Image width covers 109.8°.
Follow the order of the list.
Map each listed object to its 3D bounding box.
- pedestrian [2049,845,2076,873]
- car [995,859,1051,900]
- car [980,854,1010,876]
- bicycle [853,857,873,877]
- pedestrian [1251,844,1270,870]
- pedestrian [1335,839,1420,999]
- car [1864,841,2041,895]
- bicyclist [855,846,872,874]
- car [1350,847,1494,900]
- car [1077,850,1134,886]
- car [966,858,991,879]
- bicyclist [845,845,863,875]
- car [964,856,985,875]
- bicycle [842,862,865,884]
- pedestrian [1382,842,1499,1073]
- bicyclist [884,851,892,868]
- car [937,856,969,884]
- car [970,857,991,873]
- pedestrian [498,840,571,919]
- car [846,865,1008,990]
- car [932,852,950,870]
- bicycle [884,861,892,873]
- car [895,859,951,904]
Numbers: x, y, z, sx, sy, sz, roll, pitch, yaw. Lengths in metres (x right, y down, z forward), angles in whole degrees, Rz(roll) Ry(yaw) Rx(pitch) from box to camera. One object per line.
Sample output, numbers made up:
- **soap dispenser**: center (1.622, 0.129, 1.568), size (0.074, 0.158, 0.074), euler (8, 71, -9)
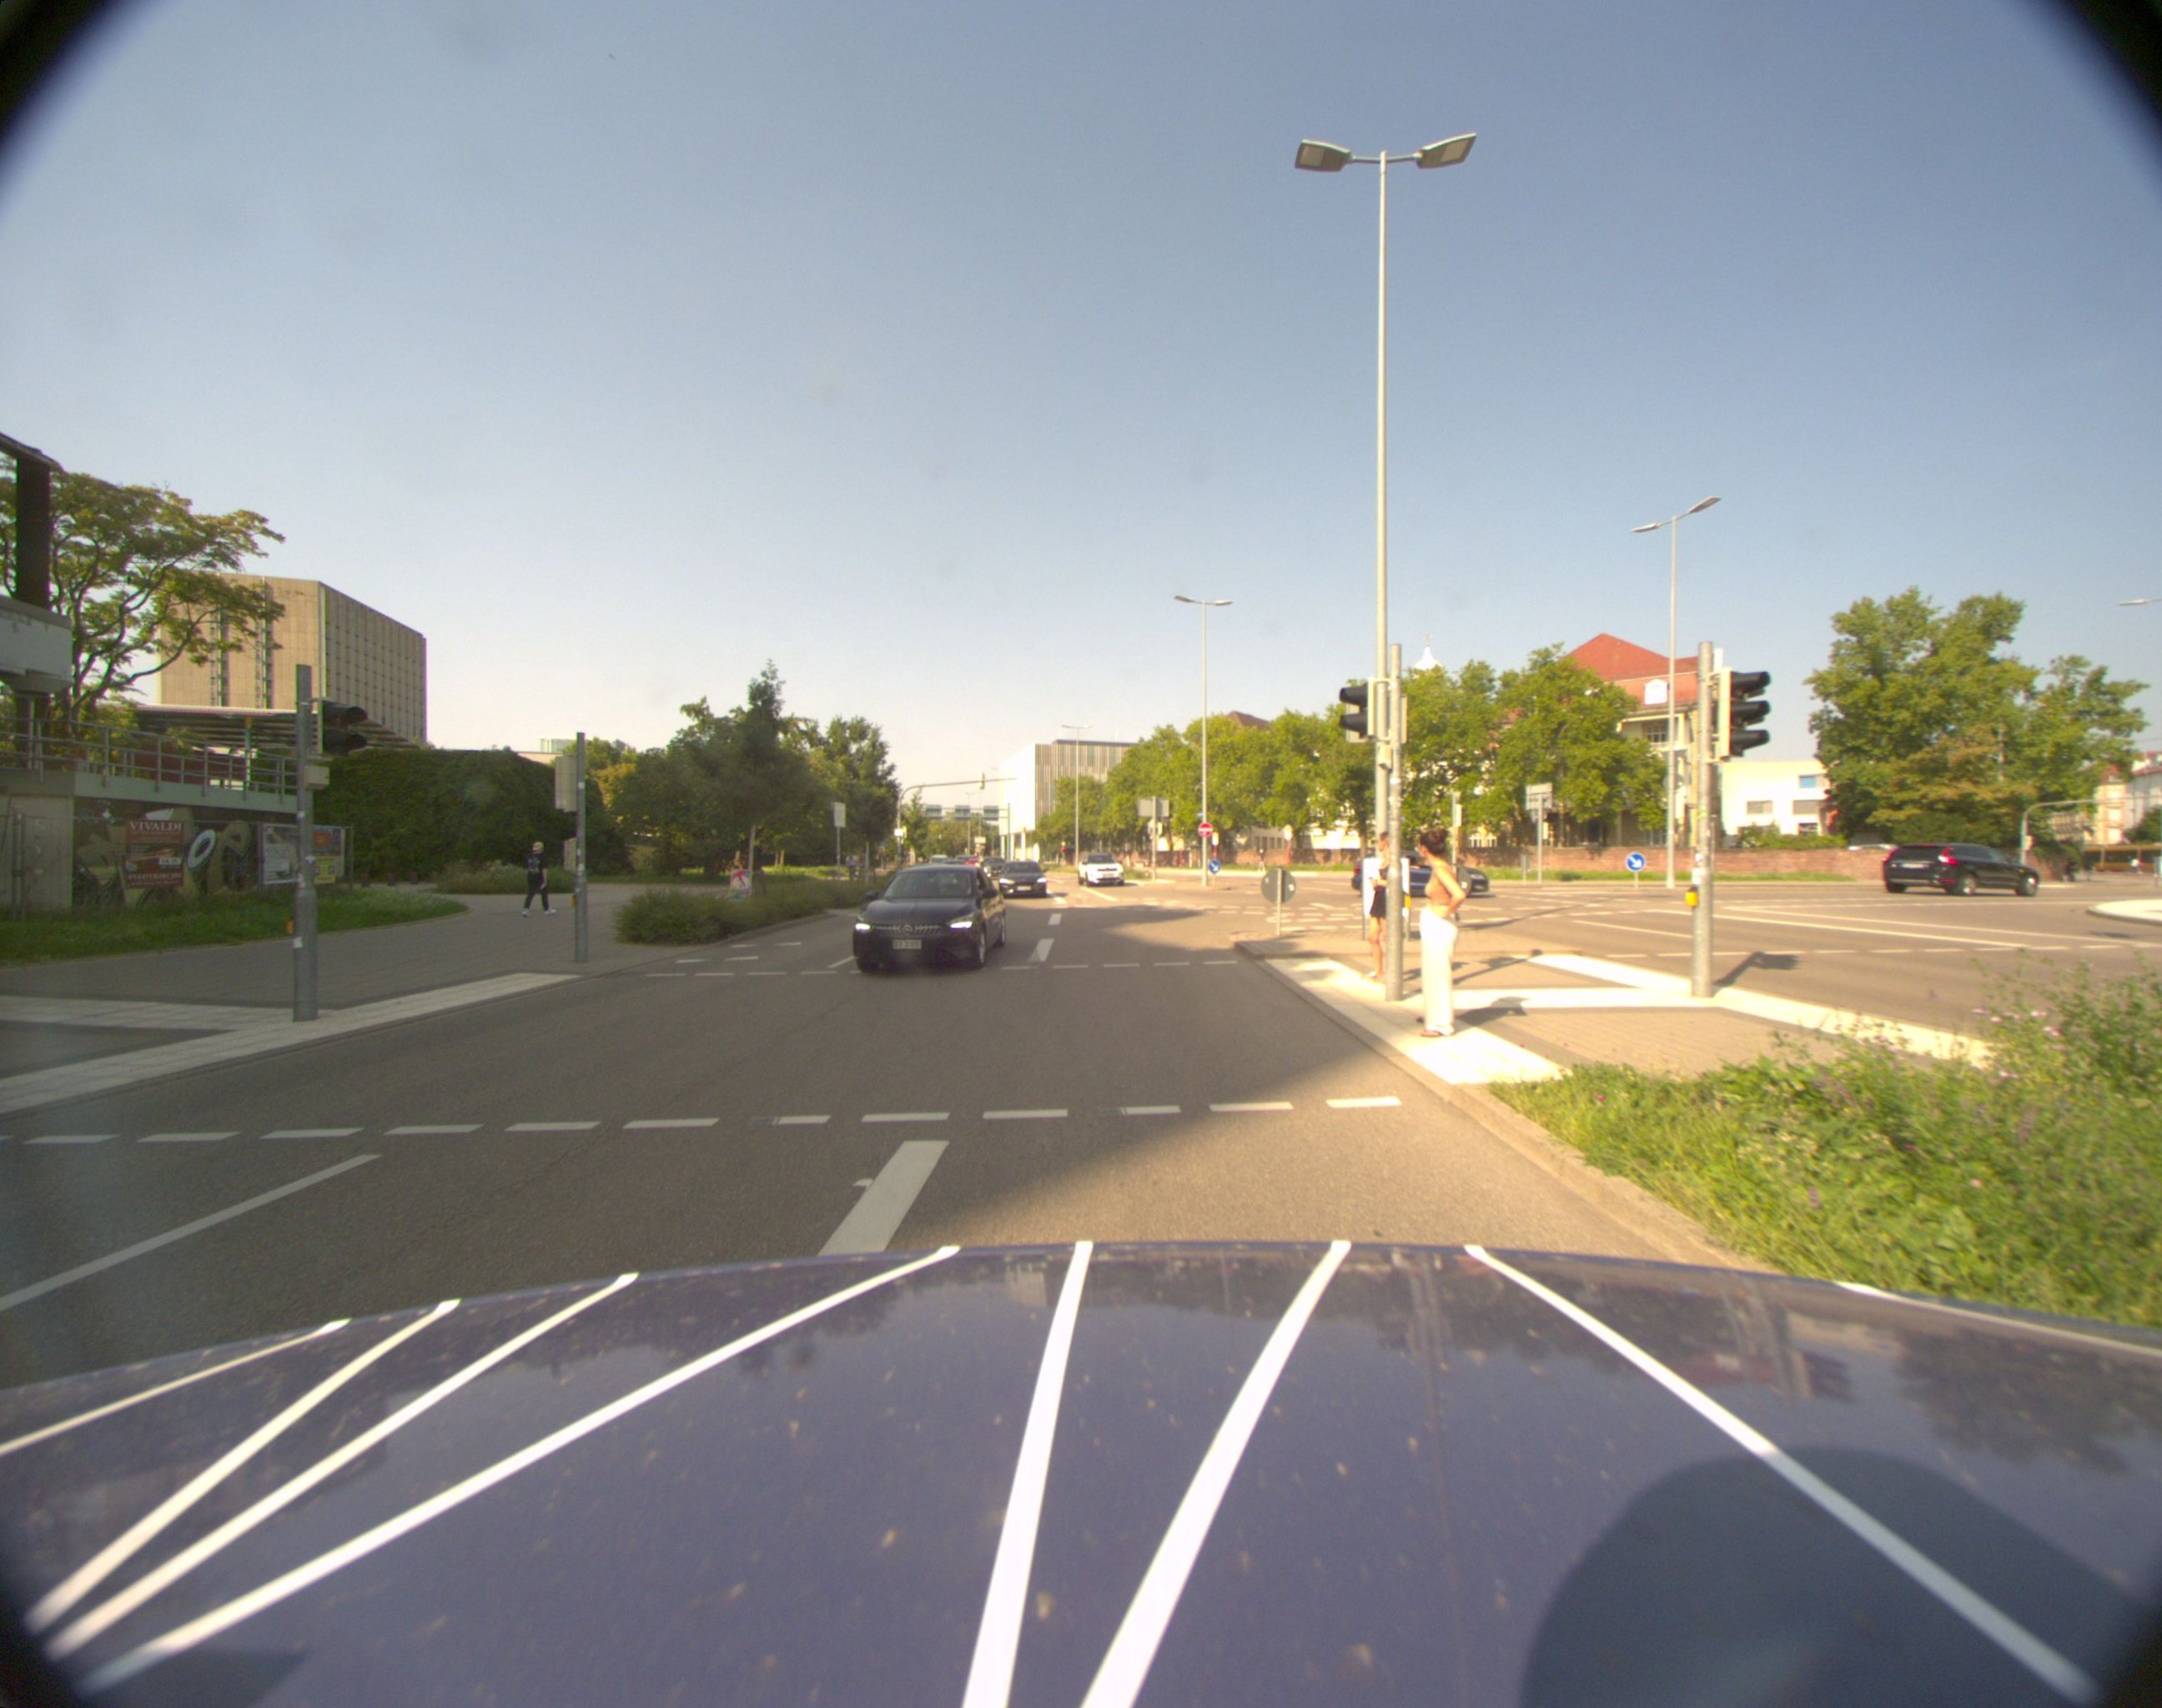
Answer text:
- **pedestrian**: center (70.262, 0.346, 54.409), size (0.817, 2.002, 0.821), euler (-2, 1, -2)
- **car**: center (-2.371, 0.932, 30.044), size (1.838, 1.427, 4.546), euler (-1, 0, -9)
- **car**: center (-6.120, 0.772, 53.659), size (1.688, 1.483, 4.367), euler (0, 0, -11)
- **bicycle**: center (-12.385, 0.723, 43.196), size (0.773, 1.111, 2.302), euler (-1, 0, -8)
- **pedestrian**: center (14.020, 0.221, 59.404), size (1.079, 2.002, 1.317), euler (-1, 1, -8)
- **pedestrian**: center (3.243, 0.683, 8.360), size (0.668, 1.689, 0.692), euler (0, 1, 1)
- **car**: center (28.135, 0.417, 24.576), size (4.374, 1.624, 1.997), euler (0, 0, -15)
- **bicyclist**: center (-12.398, 0.333, 43.261), size (0.773, 1.584, 0.923), euler (-1, 1, -8)
- **car**: center (10.506, 0.557, 23.482), size (3.839, 1.489, 1.628), euler (0, 2, 34)
- **car**: center (1.151, 0.680, 38.335), size (2.000, 1.624, 4.368), euler (-2, 0, -9)
- **car**: center (-8.387, 1.144, 62.068), size (1.784, 1.596, 4.416), euler (0, 1, -11)
- **bicyclist**: center (-12.202, 0.340, 40.813), size (0.773, 1.583, 0.923), euler (0, 0, -6)
- **car**: center (-11.313, 1.173, 80.631), size (1.689, 1.930, 4.068), euler (0, 0, -14)
- **bicycle**: center (-12.196, 0.991, 40.767), size (0.773, 1.111, 2.302), euler (0, 0, -6)
- **pedestrian**: center (2.806, 0.738, 5.909), size (0.667, 1.644, 0.781), euler (1, 1, 37)
- **bicyclist**: center (-19.699, 0.546, 77.450), size (0.774, 1.666, 0.923), euler (-1, 1, -14)
- **car**: center (-7.439, 0.892, 43.795), size (1.688, 1.483, 4.668), euler (0, 0, -11)
- **car**: center (-9.590, 1.004, 72.319), size (1.688, 1.483, 4.367), euler (0, 0, -11)
- **pedestrian**: center (-12.790, 0.592, 17.814), size (0.960, 1.772, 1.002), euler (2, 0, -2)
- **car**: center (-2.155, 0.958, 11.788), size (1.687, 1.483, 4.371), euler (-1, 0, -1)
- **car**: center (-15.205, 0.708, 82.414), size (1.689, 1.930, 4.367), euler (0, 0, -14)
- **bicycle**: center (-19.716, 1.313, 77.508), size (0.774, 1.111, 2.301), euler (-1, 0, -14)
- **car**: center (-5.668, 0.927, 27.630), size (1.688, 1.434, 4.369), euler (-1, 0, -8)
